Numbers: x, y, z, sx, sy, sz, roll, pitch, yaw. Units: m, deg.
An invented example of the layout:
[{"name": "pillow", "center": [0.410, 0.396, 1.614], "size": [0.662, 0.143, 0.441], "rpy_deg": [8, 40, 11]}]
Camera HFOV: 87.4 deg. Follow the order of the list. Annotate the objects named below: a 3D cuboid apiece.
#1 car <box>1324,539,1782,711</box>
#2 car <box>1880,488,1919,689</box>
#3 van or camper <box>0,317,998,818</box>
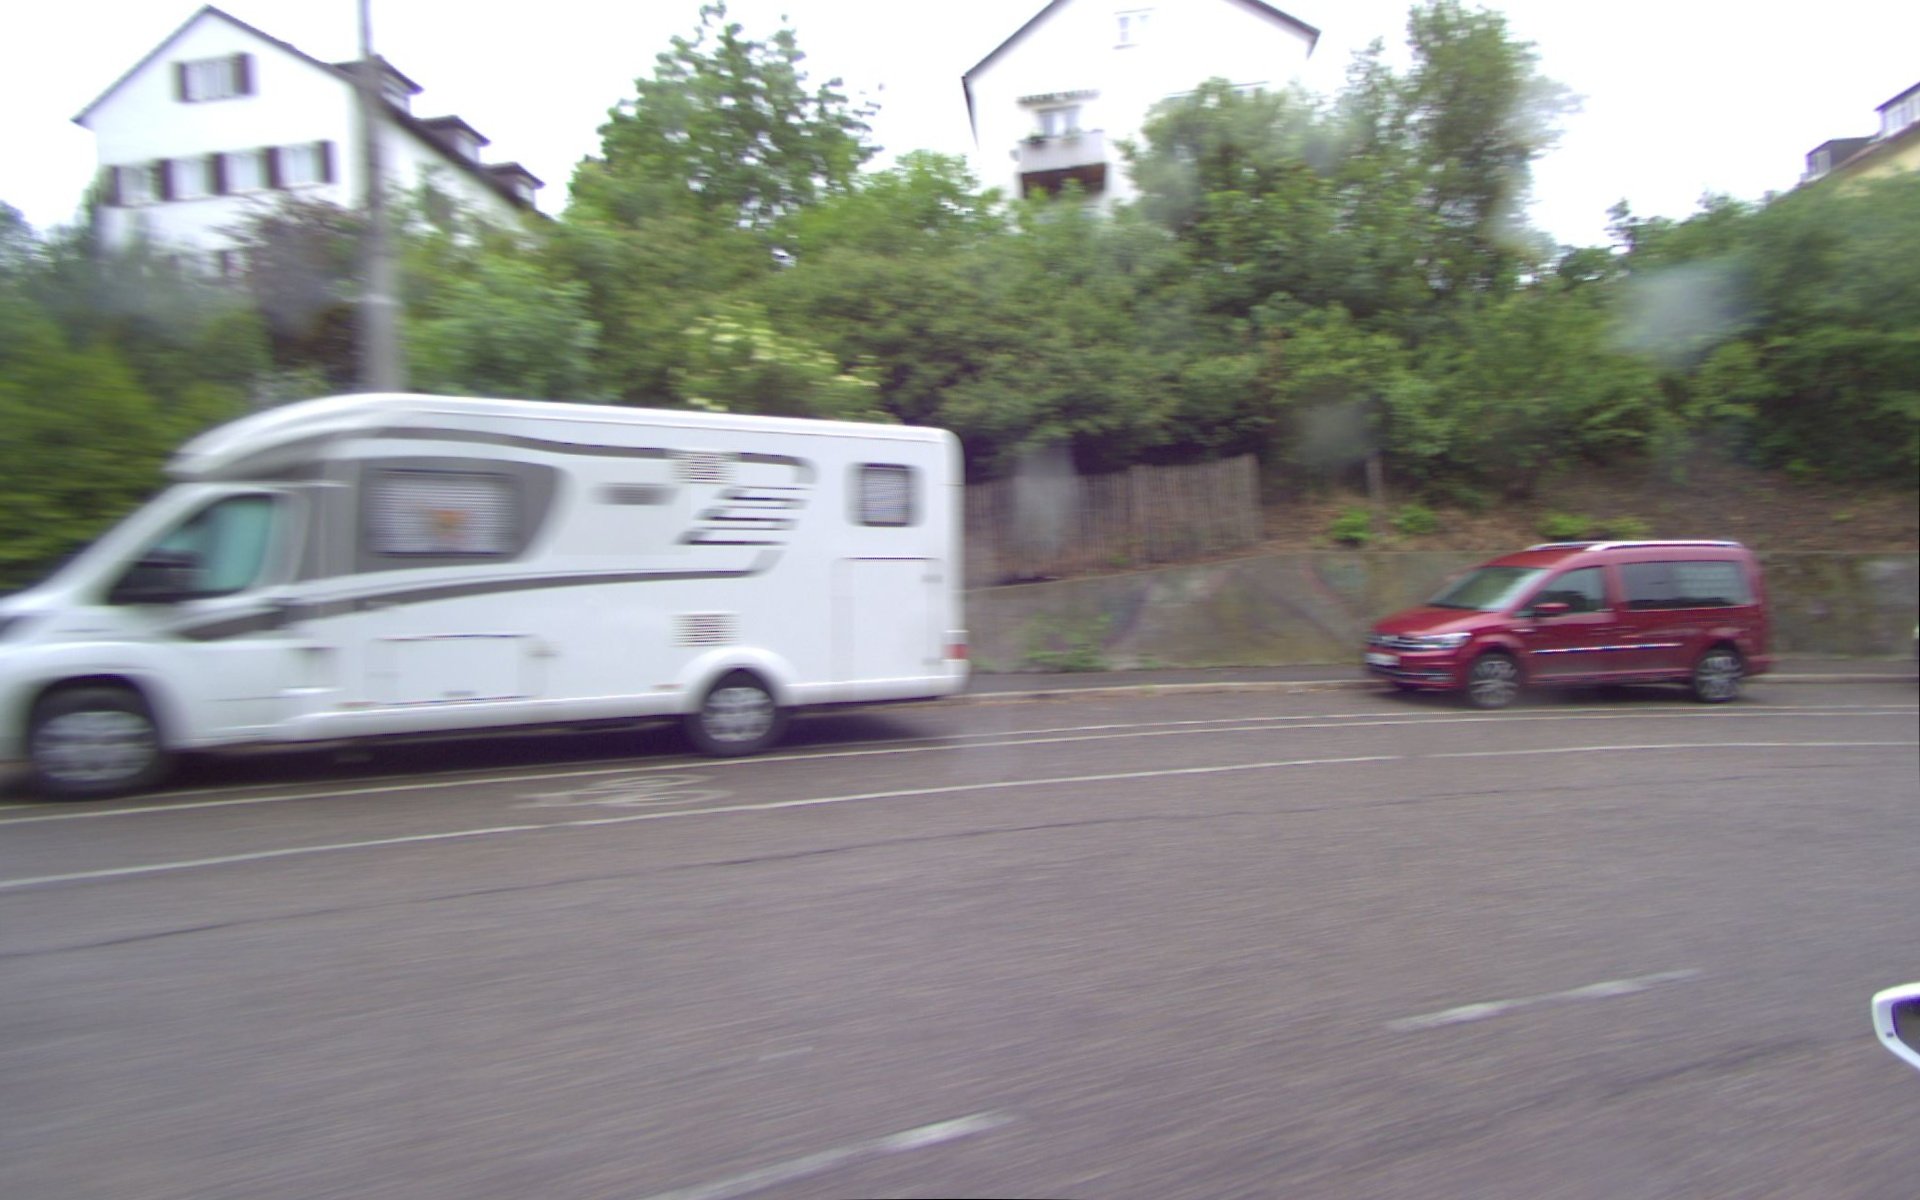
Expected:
[{"name": "car", "center": [7.223, 0.226, 12.459], "size": [4.735, 1.901, 1.996], "rpy_deg": [-1, 2, -10]}, {"name": "car", "center": [15.578, -0.155, 12.101], "size": [6.685, 2.565, 2.042], "rpy_deg": [0, 2, 6]}, {"name": "van or camper", "center": [-3.510, -0.213, 8.553], "size": [7.428, 3.007, 2.442], "rpy_deg": [0, 1, -27]}]
